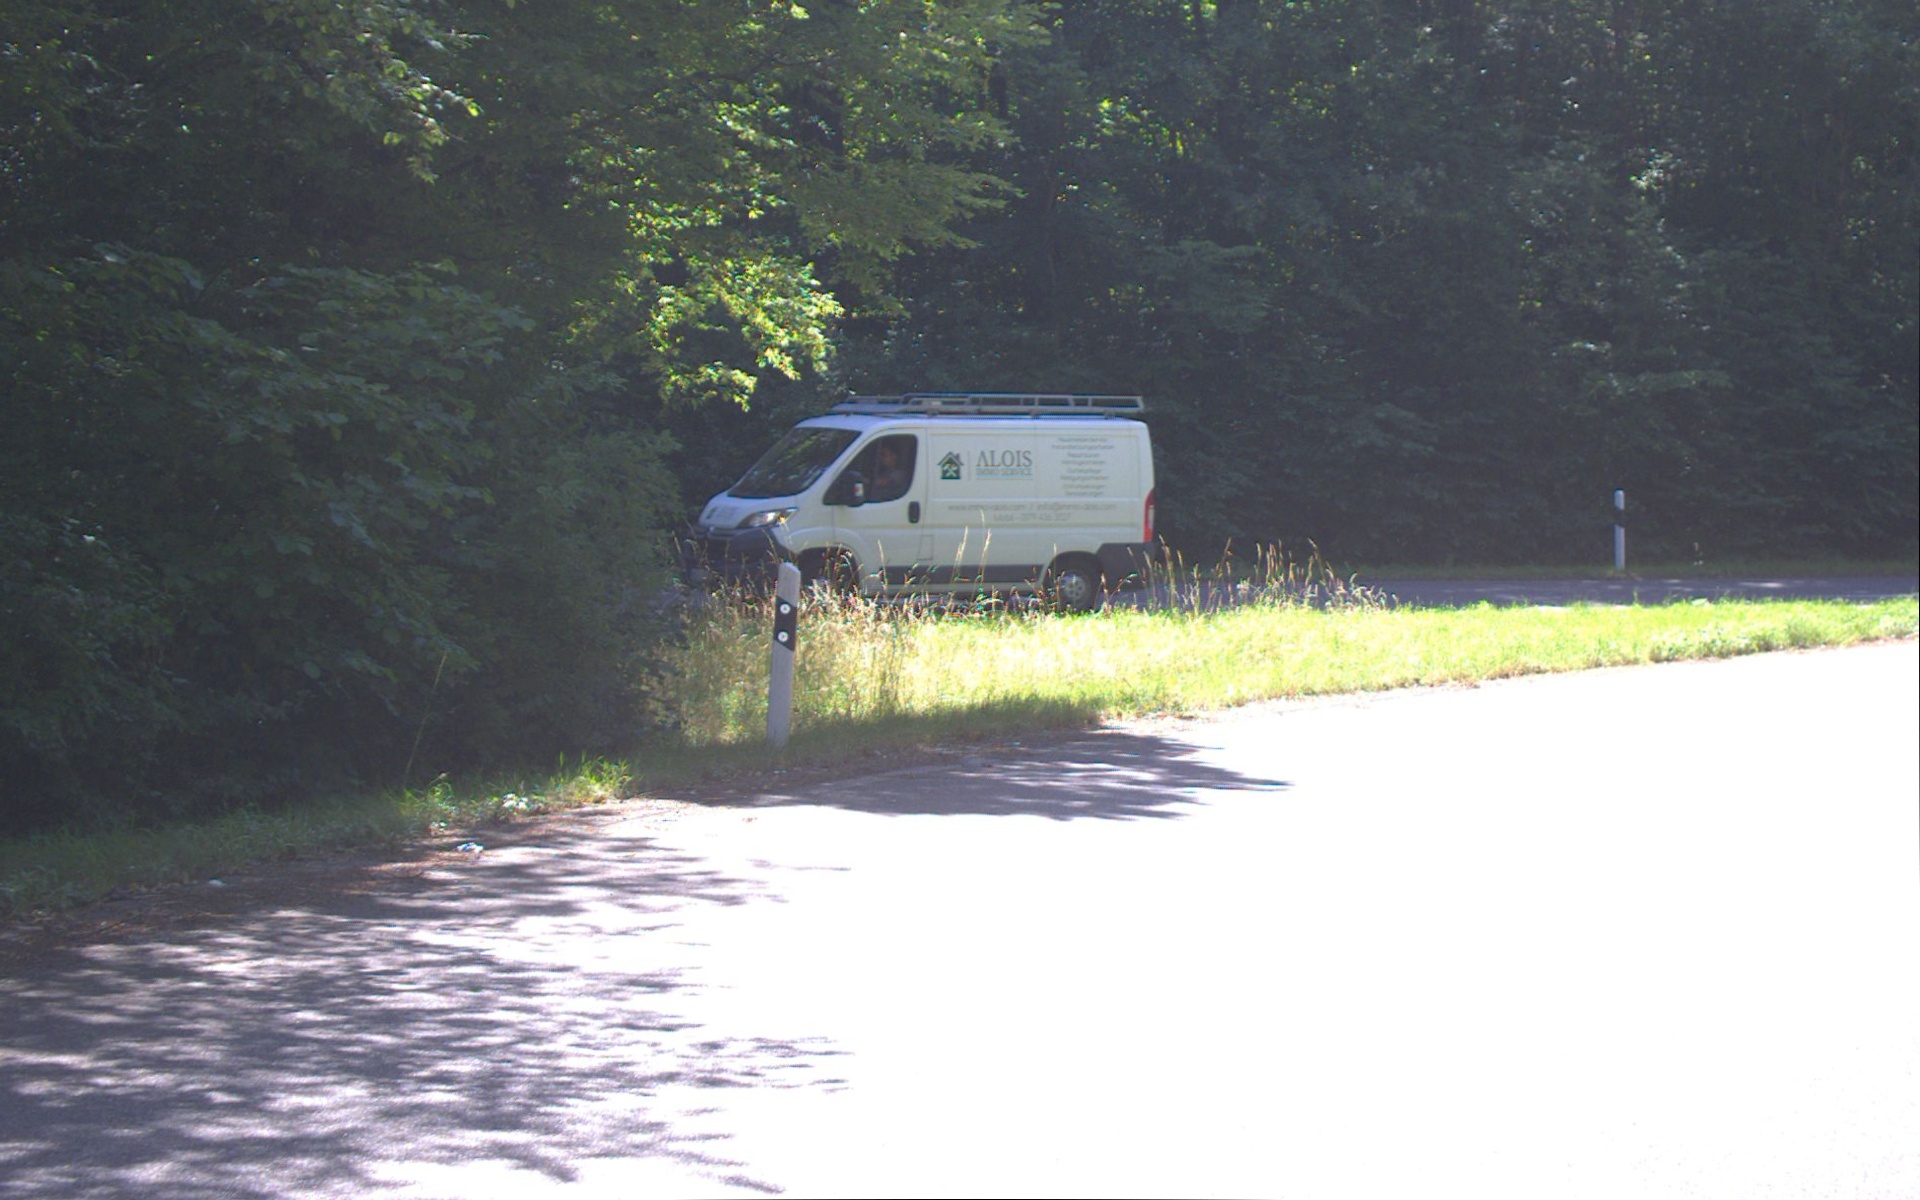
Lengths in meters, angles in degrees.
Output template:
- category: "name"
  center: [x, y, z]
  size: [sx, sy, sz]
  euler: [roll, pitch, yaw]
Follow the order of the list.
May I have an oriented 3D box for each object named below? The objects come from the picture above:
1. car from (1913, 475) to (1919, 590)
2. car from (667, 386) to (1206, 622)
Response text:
- category: "car"
  center: [14.630, -0.822, 43.650]
  size: [4.853, 1.447, 1.762]
  euler: [-1, 5, -25]
- category: "car"
  center: [-0.233, -1.081, 37.006]
  size: [5.408, 2.338, 2.069]
  euler: [-1, 5, -28]
